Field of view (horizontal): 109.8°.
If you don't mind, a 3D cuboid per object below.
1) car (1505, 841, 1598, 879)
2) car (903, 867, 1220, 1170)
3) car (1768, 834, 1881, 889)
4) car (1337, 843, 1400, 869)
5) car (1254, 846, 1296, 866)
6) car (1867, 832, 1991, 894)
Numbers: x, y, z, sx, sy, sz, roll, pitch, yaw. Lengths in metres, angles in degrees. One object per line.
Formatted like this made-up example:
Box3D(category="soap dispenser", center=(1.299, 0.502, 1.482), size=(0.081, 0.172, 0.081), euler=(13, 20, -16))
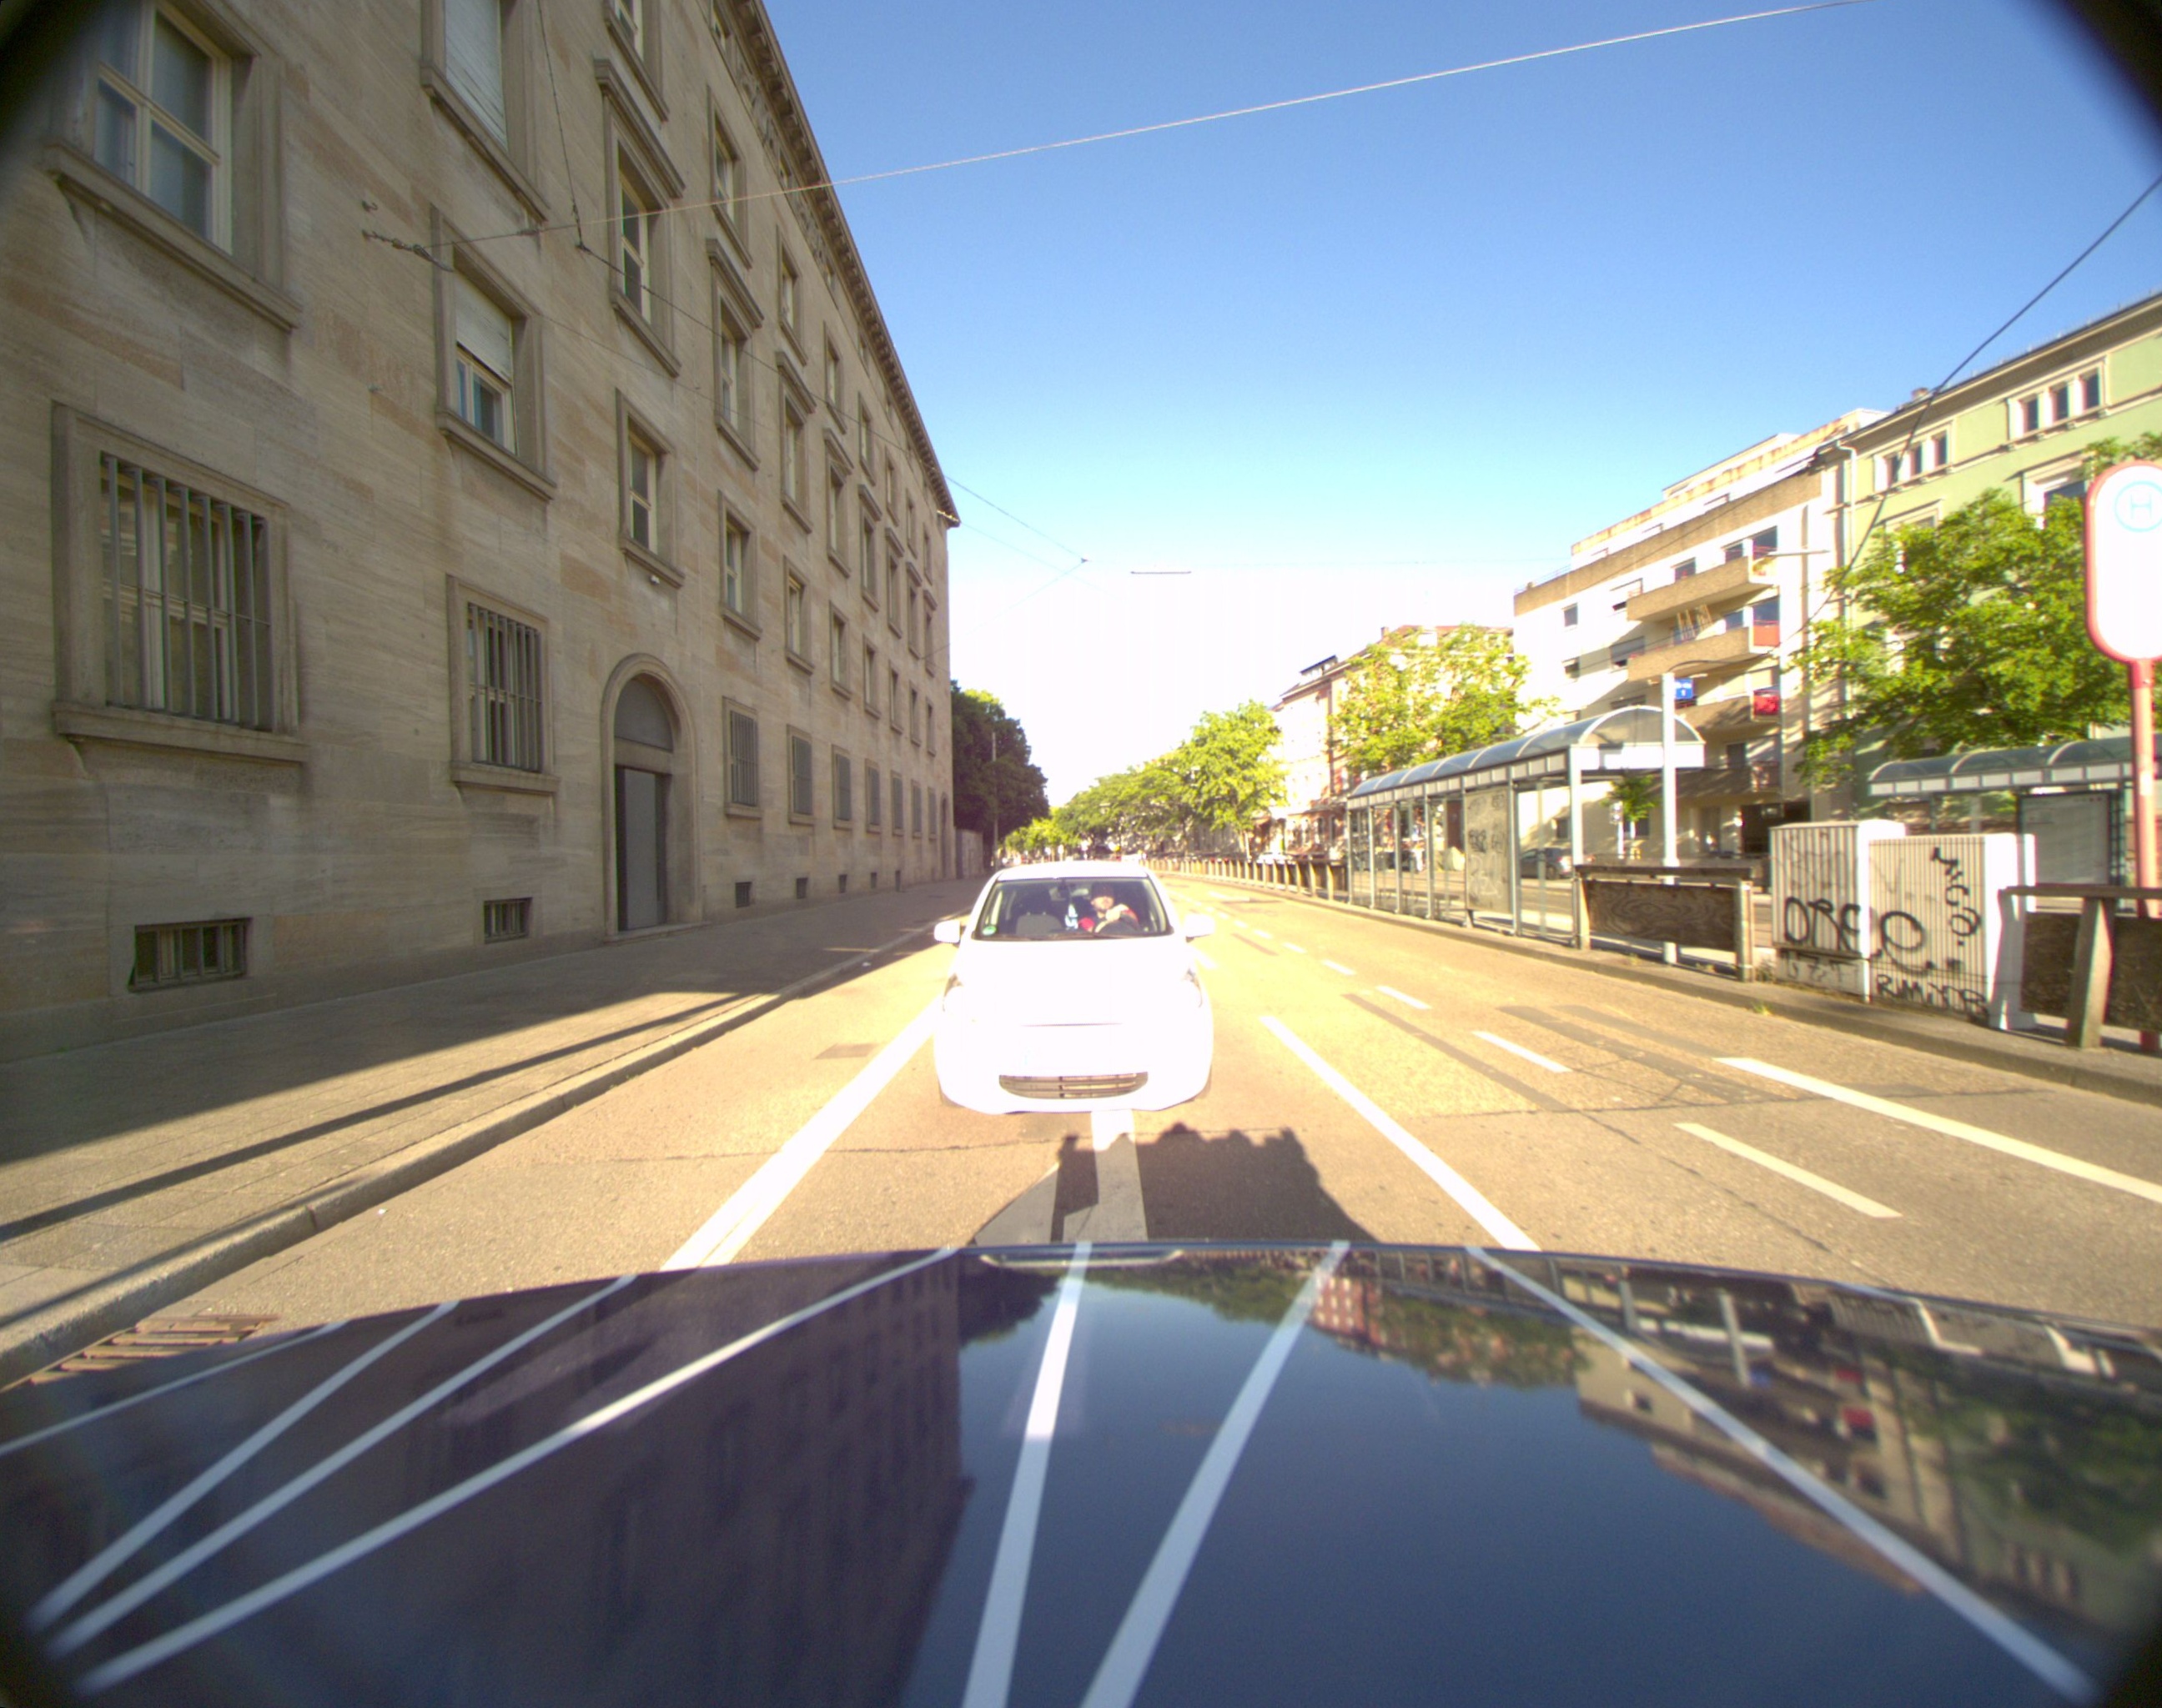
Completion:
Box3D(category="car", center=(20.908, 0.229, 33.931), size=(1.631, 1.558, 3.598), euler=(-2, 1, -5))
Box3D(category="car", center=(-0.078, 0.900, 5.806), size=(1.612, 1.462, 3.631), euler=(-2, 0, 1))
Box3D(category="car", center=(23.878, 0.223, 24.401), size=(3.605, 1.558, 1.627), euler=(-3, 1, -29))
Box3D(category="car", center=(19.535, 0.121, 51.721), size=(3.599, 1.558, 1.630), euler=(-2, 1, -7))
Box3D(category="car", center=(16.249, 0.151, 63.475), size=(3.607, 1.558, 1.627), euler=(-3, 1, -42))
Box3D(category="car", center=(24.457, 0.229, 21.889), size=(3.605, 1.558, 1.627), euler=(-3, 1, -29))
